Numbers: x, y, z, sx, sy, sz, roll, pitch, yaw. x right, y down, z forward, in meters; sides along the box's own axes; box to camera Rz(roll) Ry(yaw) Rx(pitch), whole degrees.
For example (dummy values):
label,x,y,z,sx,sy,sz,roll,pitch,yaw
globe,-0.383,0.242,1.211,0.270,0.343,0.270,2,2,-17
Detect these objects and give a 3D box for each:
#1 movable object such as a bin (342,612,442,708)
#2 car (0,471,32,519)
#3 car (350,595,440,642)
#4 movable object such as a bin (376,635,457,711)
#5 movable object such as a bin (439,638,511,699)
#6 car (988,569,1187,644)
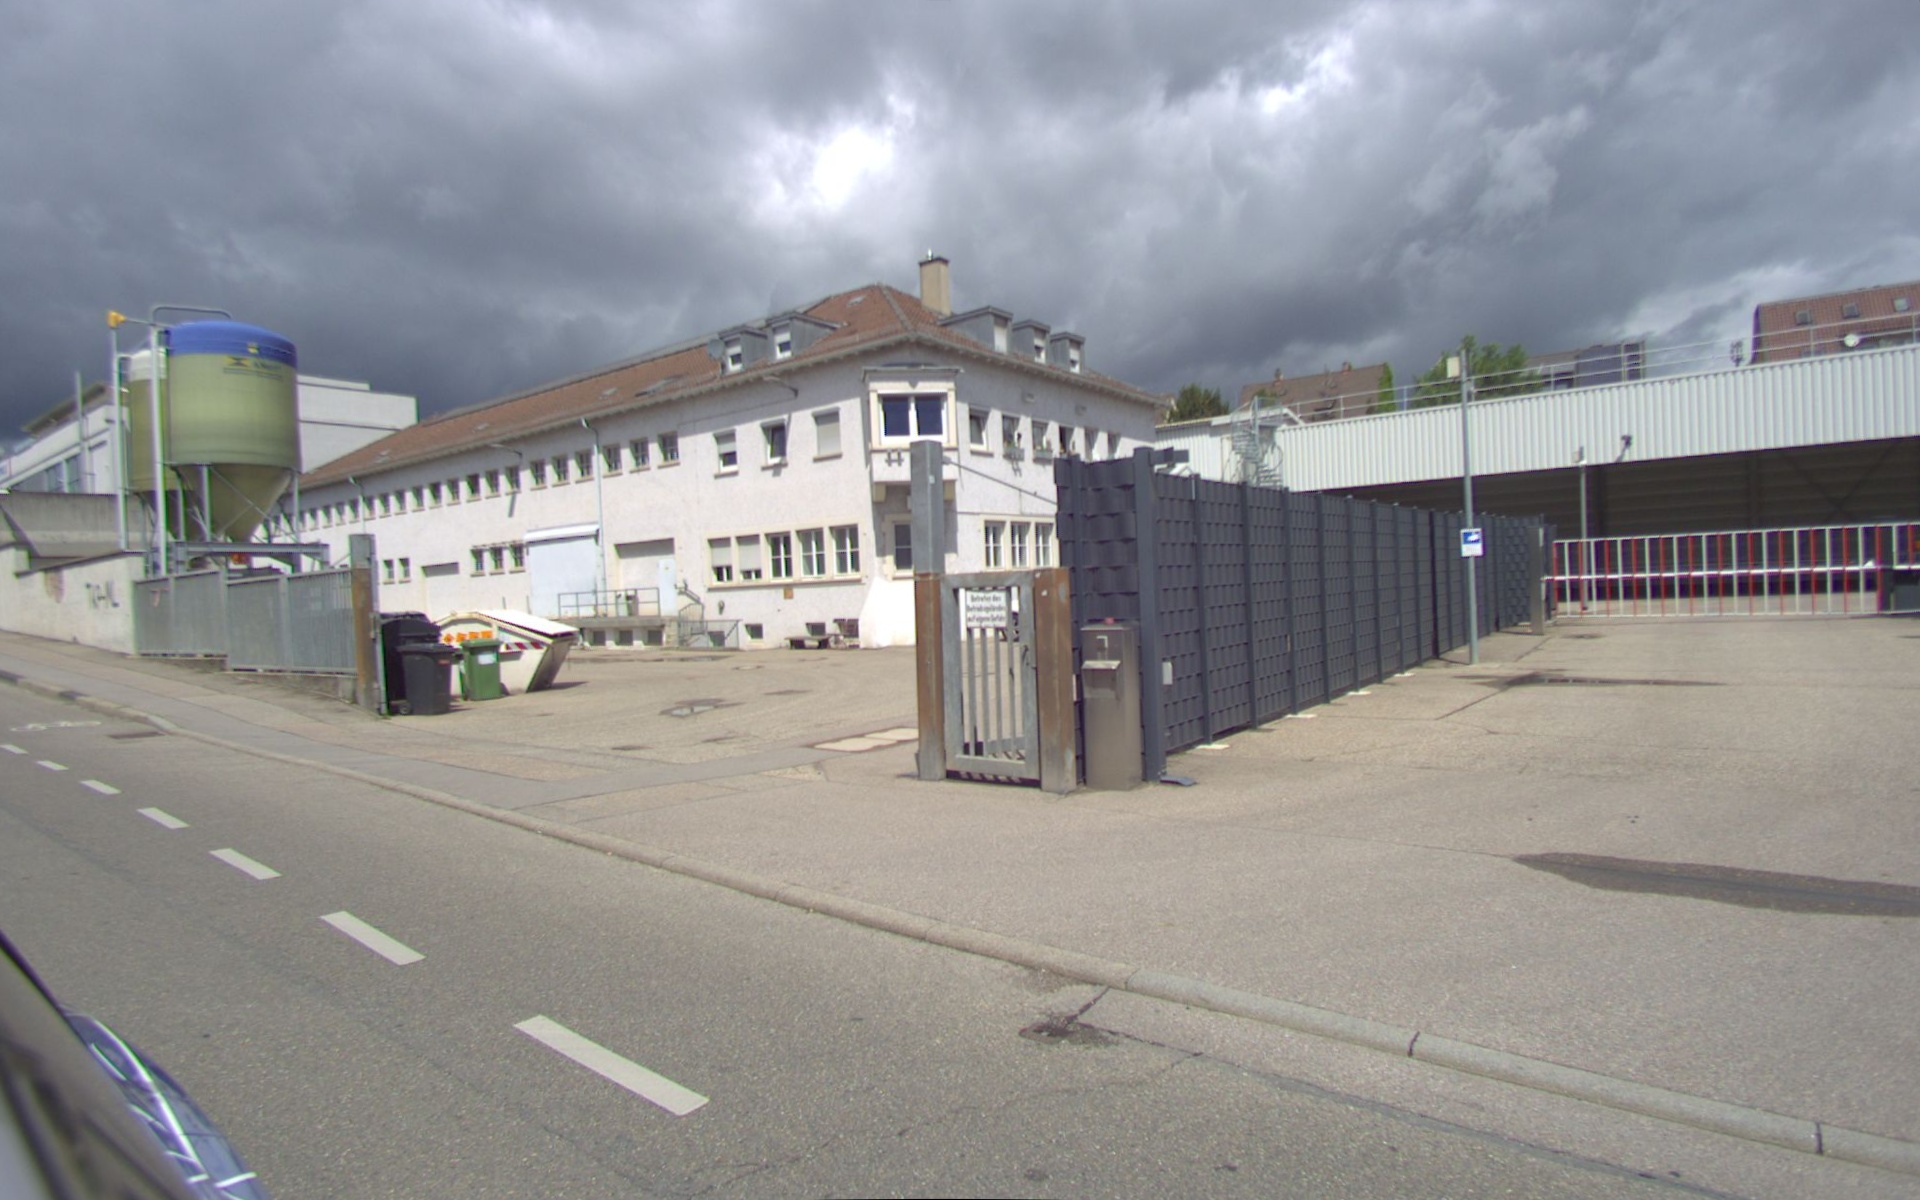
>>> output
label,x,y,z,sx,sy,sz,roll,pitch,yaw
movable object such as a bin,-8.809,0.897,15.687,1.214,1.403,0.981,-1,-1,39
car,-36.913,-3.981,38.507,4.100,1.649,1.788,2,3,39
car,-23.065,0.702,41.275,4.100,1.649,1.788,2,3,39
movable object such as a bin,-8.074,1.061,15.042,0.740,1.058,0.863,-1,-1,41
movable object such as a bin,-8.473,1.187,17.685,0.853,1.009,0.730,-2,1,21
car,3.408,0.152,27.671,5.090,1.845,1.975,0,2,38
